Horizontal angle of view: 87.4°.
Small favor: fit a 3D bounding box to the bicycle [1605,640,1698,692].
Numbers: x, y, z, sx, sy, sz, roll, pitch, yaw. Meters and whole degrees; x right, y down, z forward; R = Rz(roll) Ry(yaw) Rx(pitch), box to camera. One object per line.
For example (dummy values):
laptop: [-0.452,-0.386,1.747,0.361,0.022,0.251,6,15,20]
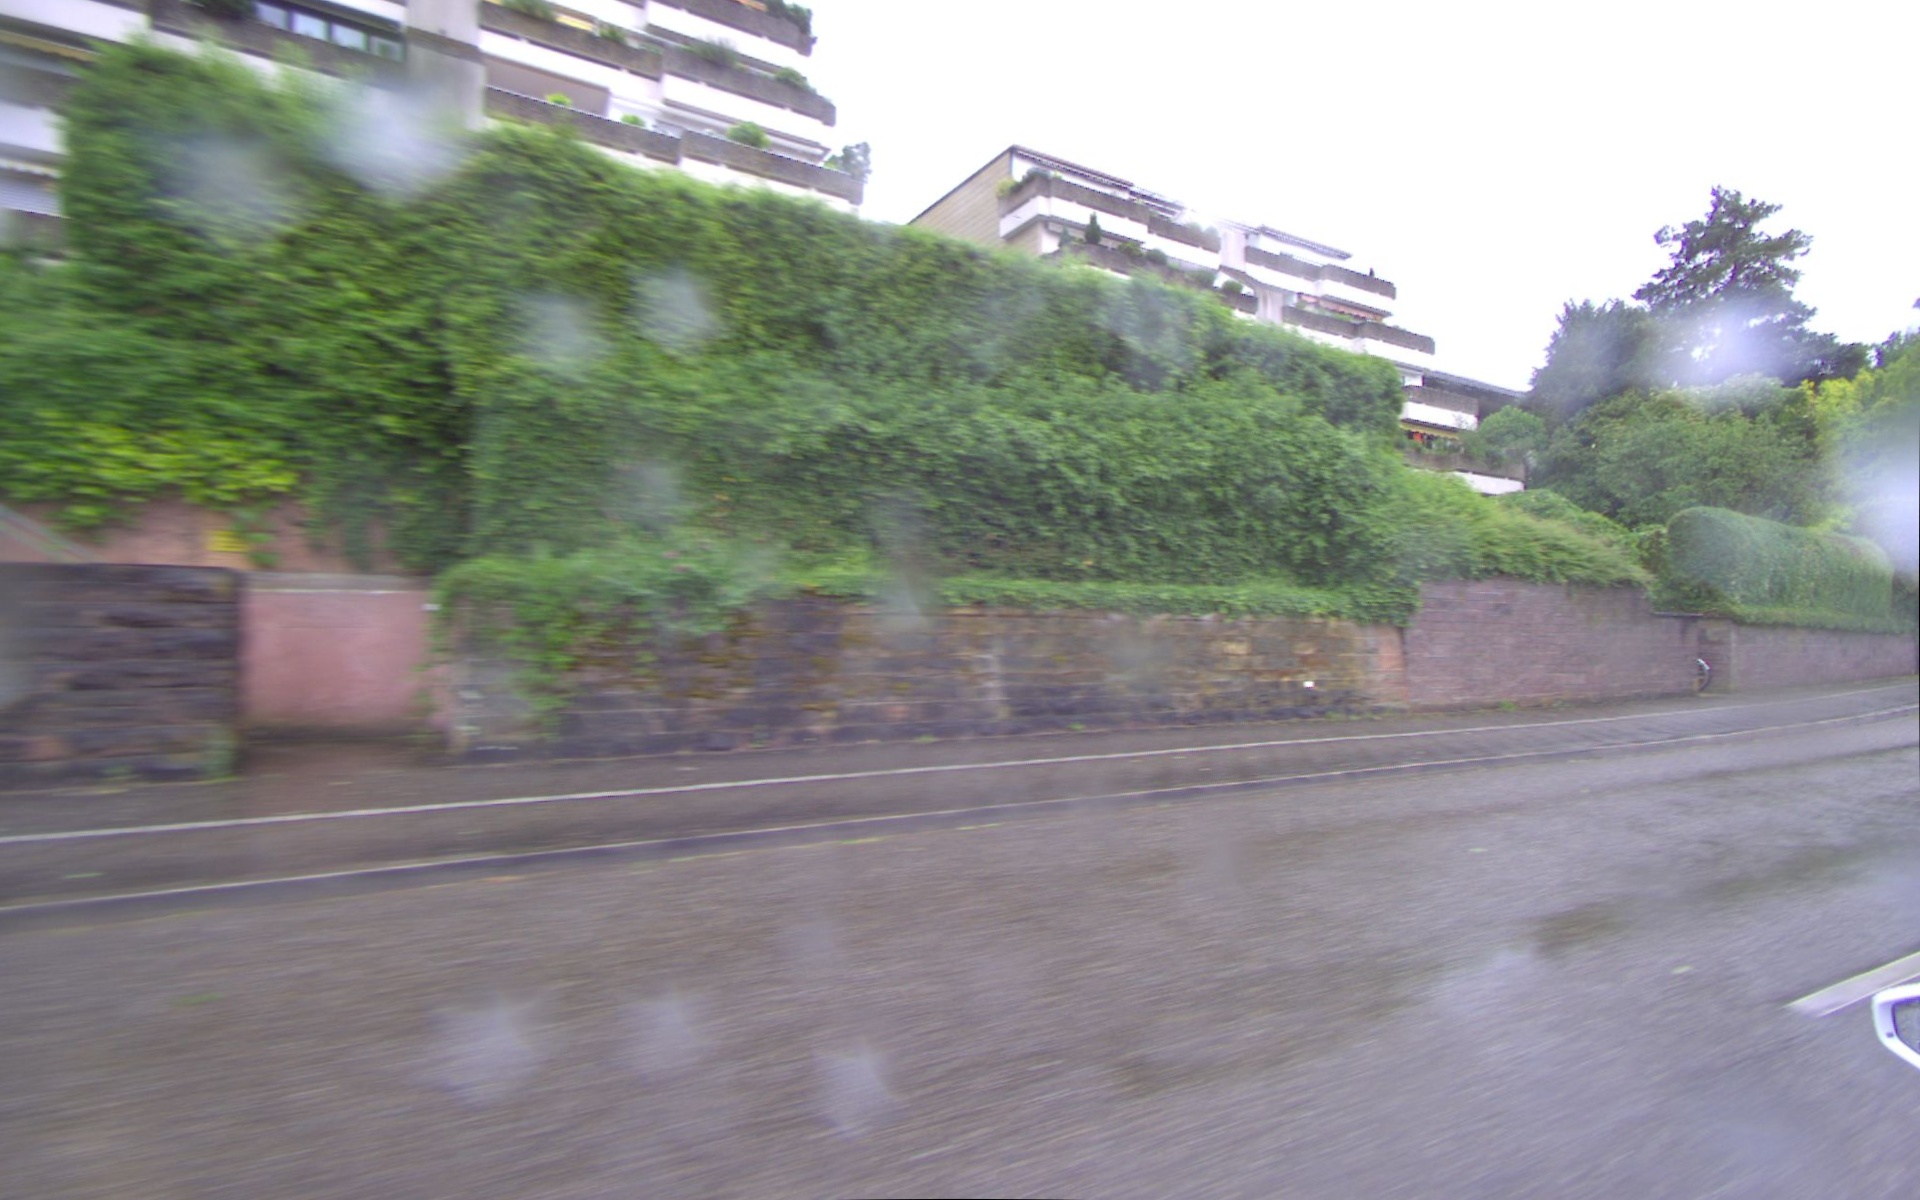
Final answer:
bicycle: [14.161,1.336,20.601,0.465,0.942,1.474,2,0,-35]
